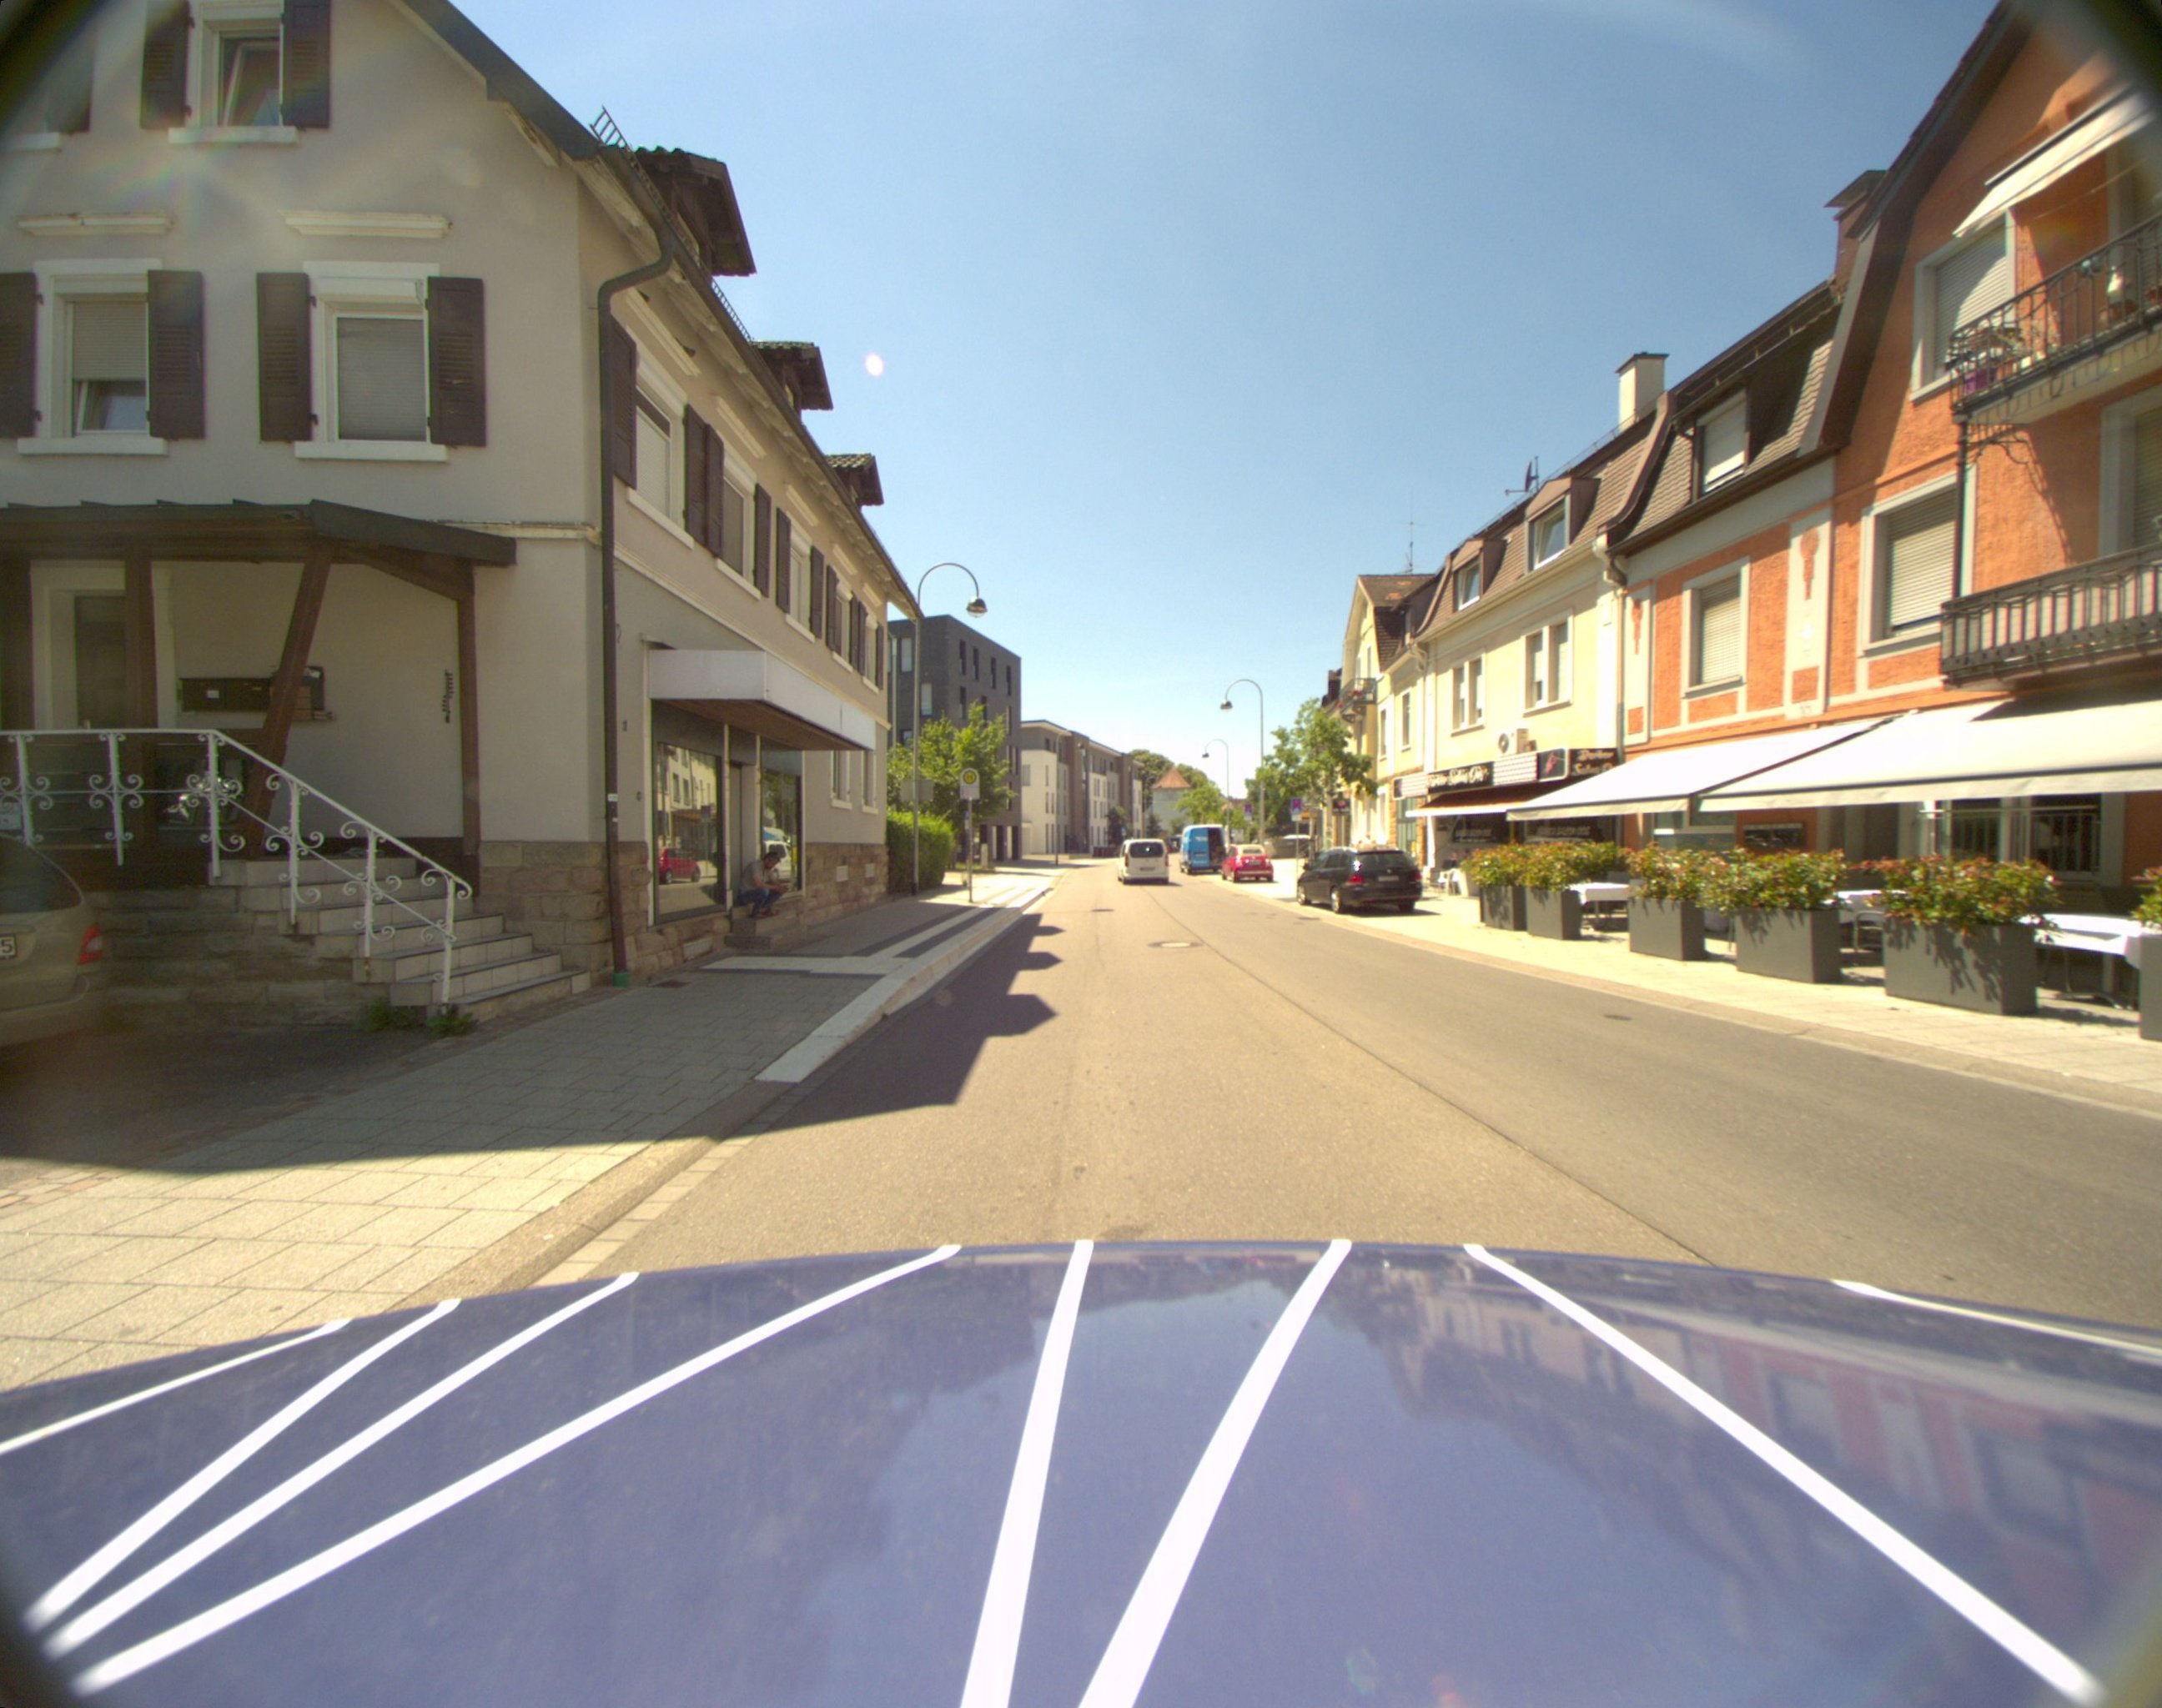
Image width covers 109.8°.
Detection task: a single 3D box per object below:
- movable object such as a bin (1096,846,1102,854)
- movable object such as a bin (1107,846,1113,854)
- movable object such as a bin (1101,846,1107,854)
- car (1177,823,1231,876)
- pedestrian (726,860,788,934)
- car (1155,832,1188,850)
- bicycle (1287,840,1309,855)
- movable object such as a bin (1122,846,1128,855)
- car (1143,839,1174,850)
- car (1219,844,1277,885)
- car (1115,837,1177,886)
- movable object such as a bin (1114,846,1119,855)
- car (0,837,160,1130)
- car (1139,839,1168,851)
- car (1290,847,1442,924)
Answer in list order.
[{"bbox_3d":[1.908,-0.437,81.813,0.473,0.925,0.529,2,2,18],"label":"movable object such as a bin"},{"bbox_3d":[3.118,-0.428,81.524,0.473,0.925,0.529,2,2,18],"label":"movable object such as a bin"},{"bbox_3d":[2.473,-0.425,81.640,0.473,0.925,0.529,2,2,18],"label":"movable object such as a bin"},{"bbox_3d":[6.344,-0.264,39.822,2.097,2.484,5.503,-2,1,3],"label":"car"},{"bbox_3d":[-4.647,0.602,10.935,0.591,0.994,0.723,1,1,-1],"label":"pedestrian"},{"bbox_3d":[13.980,-2.078,117.593,4.860,2.721,1.853,1,2,18],"label":"car"},{"bbox_3d":[18.486,-0.552,64.716,1.768,1.227,0.616,1,2,10],"label":"bicycle"},{"bbox_3d":[4.657,-0.381,81.032,0.473,0.925,0.529,2,2,18],"label":"movable object such as a bin"},{"bbox_3d":[10.535,-1.272,103.268,3.812,1.454,1.654,1,2,17],"label":"car"},{"bbox_3d":[6.785,0.374,31.145,1.564,1.512,3.514,-1,2,0],"label":"car"},{"bbox_3d":[2.542,0.259,30.852,1.999,1.811,4.414,1,1,-2],"label":"car"},{"bbox_3d":[3.795,-0.398,81.291,0.473,0.925,0.529,2,2,18],"label":"movable object such as a bin"},{"bbox_3d":[-7.952,0.673,3.989,4.071,1.586,1.802,2,1,1],"label":"car"},{"bbox_3d":[9.595,-1.229,100.828,3.612,1.454,1.618,2,2,17],"label":"car"},{"bbox_3d":[6.547,0.641,18.014,1.920,1.473,4.336,-3,1,0],"label":"car"}]
